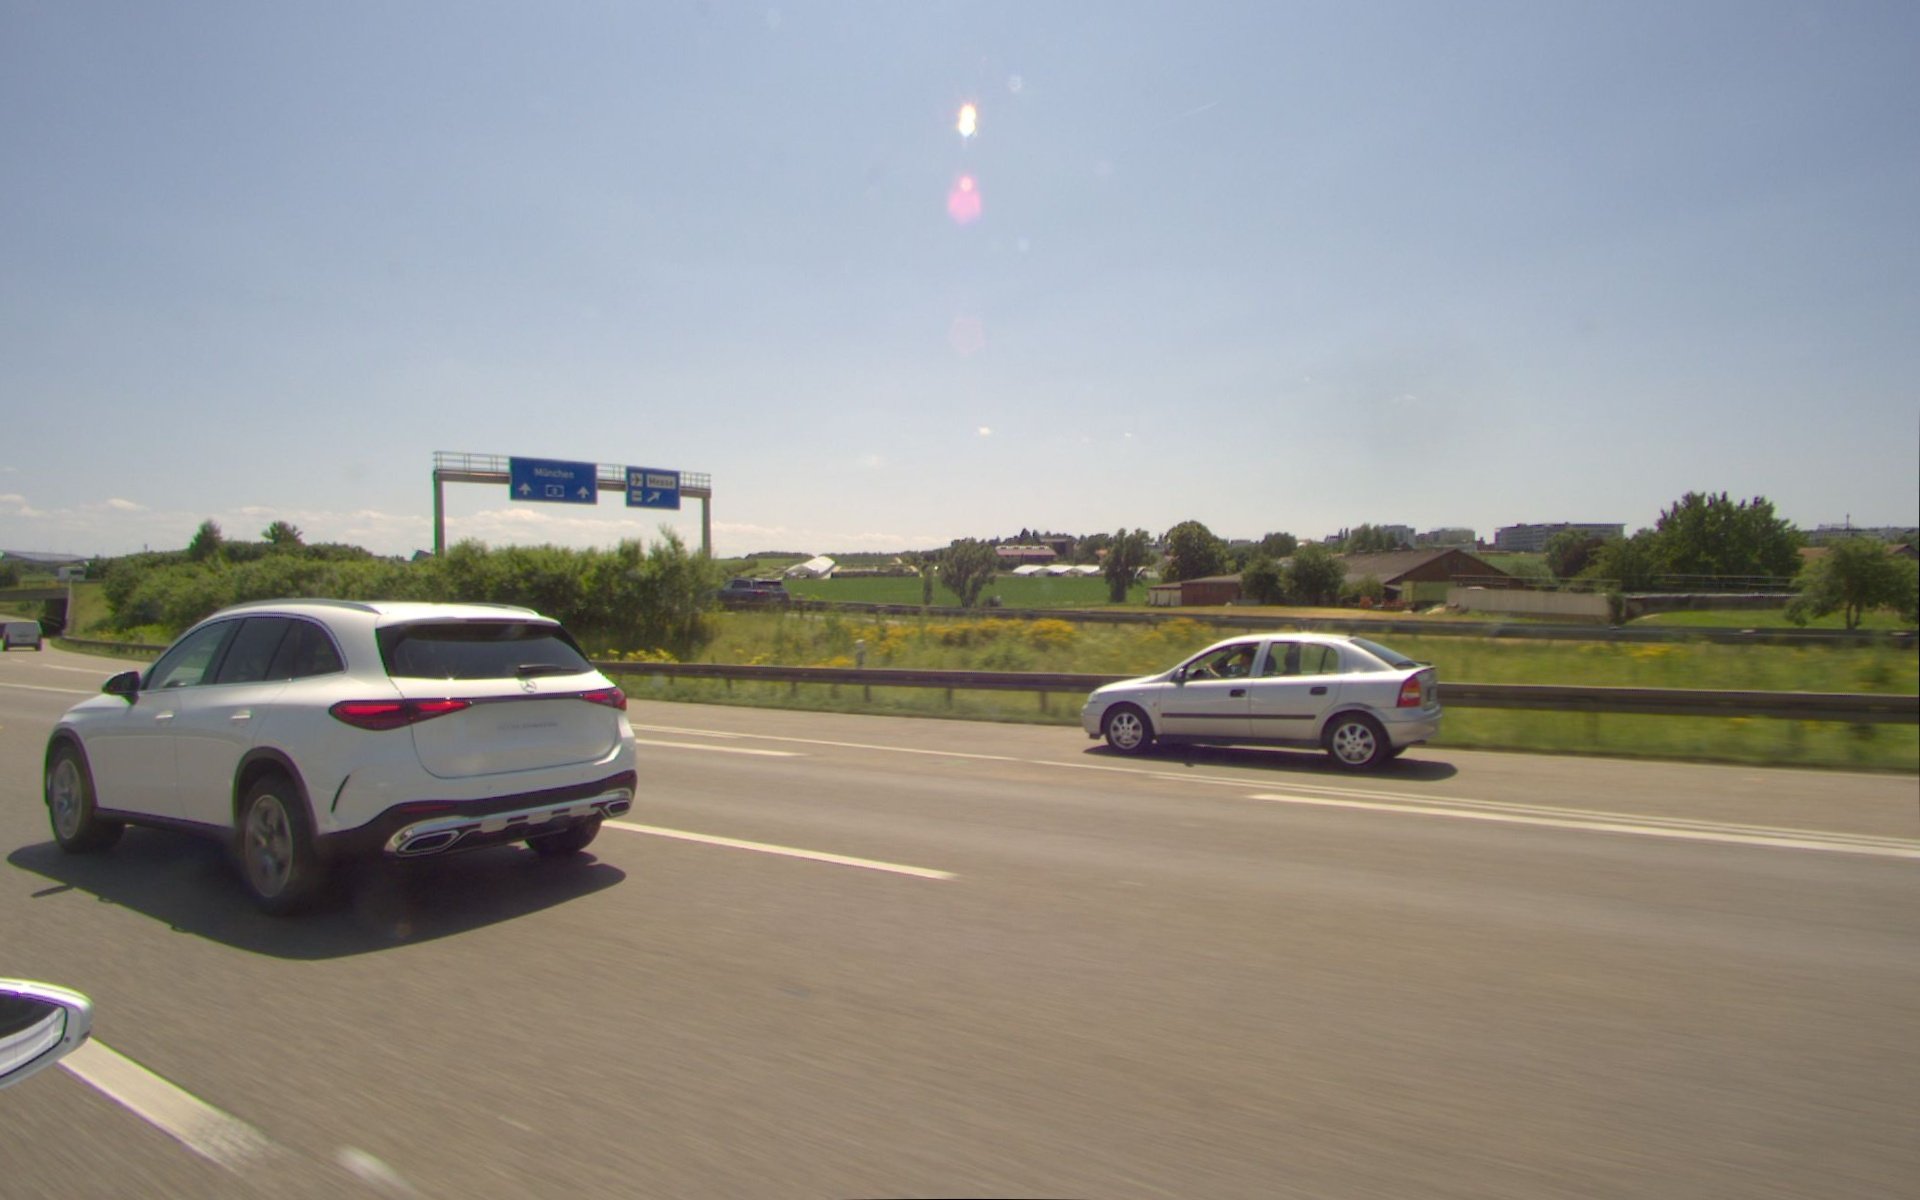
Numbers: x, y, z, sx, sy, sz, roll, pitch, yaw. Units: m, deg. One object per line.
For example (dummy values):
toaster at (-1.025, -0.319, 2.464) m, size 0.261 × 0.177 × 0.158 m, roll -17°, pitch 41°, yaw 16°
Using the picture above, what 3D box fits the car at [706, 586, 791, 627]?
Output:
car at (-9.085, 0.304, 42.880) m, size 1.688 × 1.595 × 4.090 m, roll 1°, pitch -2°, yaw -43°

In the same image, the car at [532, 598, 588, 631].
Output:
car at (-25.577, 0.944, 64.021) m, size 1.926 × 1.948 × 4.140 m, roll 1°, pitch -2°, yaw -43°

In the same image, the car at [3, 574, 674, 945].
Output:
car at (-4.320, 0.812, 6.660) m, size 4.929 × 1.668 × 1.894 m, roll -2°, pitch -2°, yaw 33°

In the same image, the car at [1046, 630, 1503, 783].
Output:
car at (3.538, 1.118, 11.679) m, size 4.780 × 1.455 × 1.782 m, roll -2°, pitch -2°, yaw 33°

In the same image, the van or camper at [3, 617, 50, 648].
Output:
van or camper at (-63.147, 2.236, 67.703) m, size 4.261 × 2.039 × 2.143 m, roll -3°, pitch -2°, yaw 45°
